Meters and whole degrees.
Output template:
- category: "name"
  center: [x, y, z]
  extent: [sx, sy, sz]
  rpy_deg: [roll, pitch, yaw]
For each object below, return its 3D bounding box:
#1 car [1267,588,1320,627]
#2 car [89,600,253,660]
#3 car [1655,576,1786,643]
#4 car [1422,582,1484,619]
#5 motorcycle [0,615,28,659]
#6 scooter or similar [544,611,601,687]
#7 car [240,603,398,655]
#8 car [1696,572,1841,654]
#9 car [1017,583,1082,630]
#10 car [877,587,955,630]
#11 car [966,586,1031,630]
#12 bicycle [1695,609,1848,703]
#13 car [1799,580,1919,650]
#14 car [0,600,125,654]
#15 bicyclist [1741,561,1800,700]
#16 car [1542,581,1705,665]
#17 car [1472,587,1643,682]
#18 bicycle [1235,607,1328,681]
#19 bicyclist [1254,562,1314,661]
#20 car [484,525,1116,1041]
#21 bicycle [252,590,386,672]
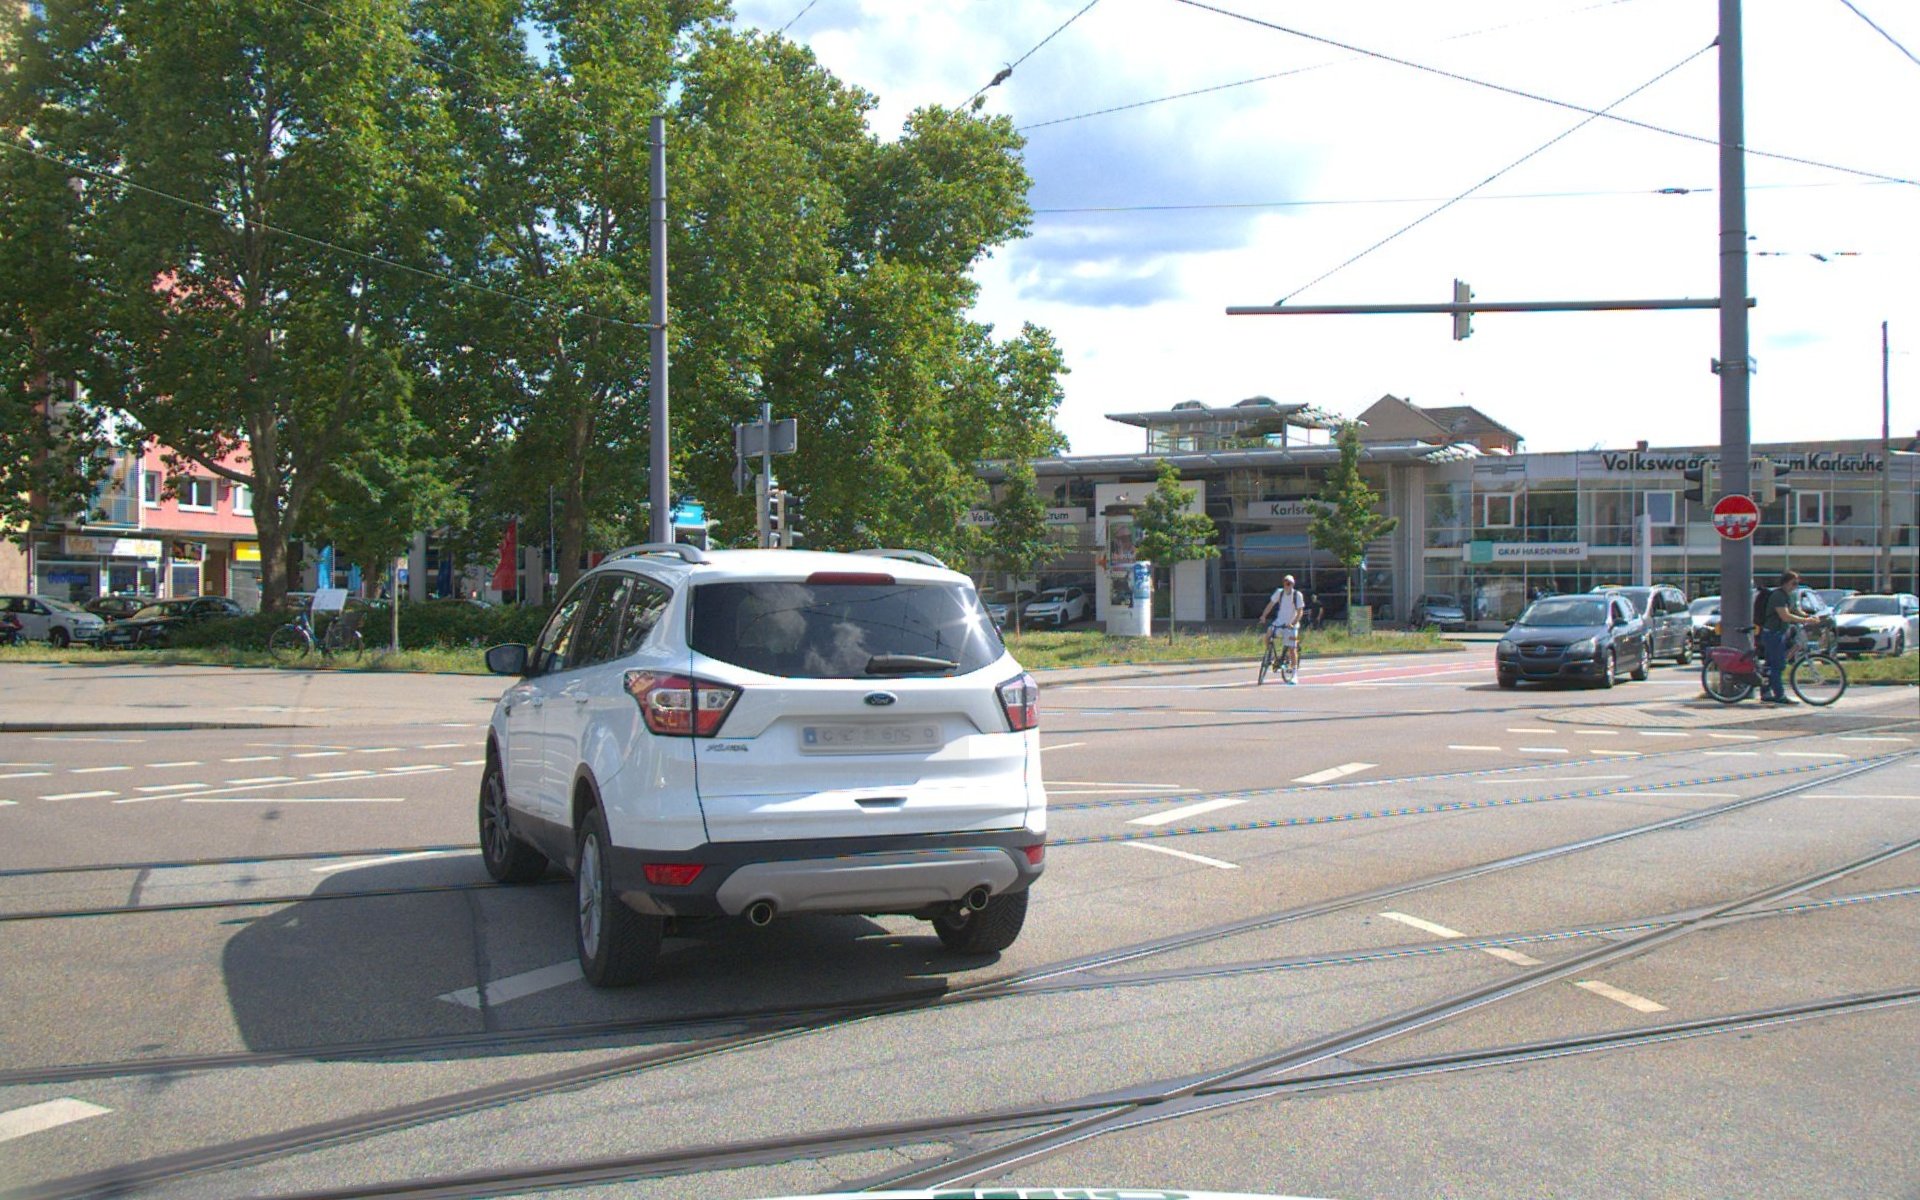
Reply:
- category: "car"
  center: [14.212, 0.340, 70.297]
  extent: [1.780, 1.561, 3.919]
  rpy_deg: [-2, -1, 17]
- category: "car"
  center: [-20.351, 0.778, 42.844]
  extent: [1.864, 1.438, 4.003]
  rpy_deg: [-1, -1, 10]
- category: "car"
  center: [18.050, 0.205, 39.201]
  extent: [1.603, 1.487, 3.942]
  rpy_deg: [-2, 0, 44]
- category: "car"
  center: [21.858, 0.028, 73.303]
  extent: [1.784, 1.561, 3.910]
  rpy_deg: [-2, -1, 29]
- category: "motorcycle"
  center: [-21.575, 0.836, 36.209]
  extent: [2.017, 0.933, 0.802]
  rpy_deg: [-2, 1, -32]
- category: "scooter or similar"
  center: [-6.530, 0.811, 27.857]
  extent: [0.396, 1.214, 1.157]
  rpy_deg: [1, 0, -42]
- category: "car"
  center: [-17.447, 0.791, 45.045]
  extent: [3.904, 1.350, 1.633]
  rpy_deg: [-1, -1, 20]
- category: "car"
  center: [15.747, 0.233, 32.131]
  extent: [1.663, 1.487, 3.949]
  rpy_deg: [-2, 0, 39]
- category: "car"
  center: [4.145, 0.299, 76.223]
  extent: [1.951, 2.049, 4.233]
  rpy_deg: [-2, -1, 17]
- category: "car"
  center: [-2.088, 0.412, 79.985]
  extent: [1.927, 1.971, 5.068]
  rpy_deg: [-2, -1, 21]
- category: "car"
  center: [1.830, 0.400, 77.451]
  extent: [1.926, 1.971, 4.233]
  rpy_deg: [-2, -1, 17]
- category: "bicycle"
  center: [10.520, 0.709, 21.454]
  extent: [1.745, 1.145, 0.638]
  rpy_deg: [0, 1, 30]
- category: "car"
  center: [20.597, 0.317, 37.363]
  extent: [1.873, 1.487, 3.942]
  rpy_deg: [-2, -1, 44]
- category: "car"
  center: [-26.586, 0.768, 47.923]
  extent: [3.902, 1.521, 1.804]
  rpy_deg: [0, 0, 7]
- category: "bicyclist"
  center: [10.525, 0.378, 21.484]
  extent: [0.647, 1.768, 0.639]
  rpy_deg: [1, 1, 29]
- category: "car"
  center: [13.628, 0.441, 33.887]
  extent: [1.713, 1.600, 3.973]
  rpy_deg: [-2, 0, 44]
- category: "car"
  center: [9.753, 0.525, 26.853]
  extent: [1.708, 1.397, 3.628]
  rpy_deg: [-2, 0, 35]
- category: "bicycle"
  center: [5.664, 0.750, 29.054]
  extent: [0.746, 1.213, 2.142]
  rpy_deg: [-1, 0, 36]
- category: "bicyclist"
  center: [5.704, 0.201, 29.103]
  extent: [0.747, 1.712, 0.757]
  rpy_deg: [-1, 0, 36]
- category: "car"
  center: [-1.012, 0.590, 7.611]
  extent: [1.803, 1.693, 3.927]
  rpy_deg: [-1, 0, -23]
- category: "bicycle"
  center: [-11.634, 0.545, 30.048]
  extent: [2.122, 1.439, 0.813]
  rpy_deg: [0, 1, 7]
